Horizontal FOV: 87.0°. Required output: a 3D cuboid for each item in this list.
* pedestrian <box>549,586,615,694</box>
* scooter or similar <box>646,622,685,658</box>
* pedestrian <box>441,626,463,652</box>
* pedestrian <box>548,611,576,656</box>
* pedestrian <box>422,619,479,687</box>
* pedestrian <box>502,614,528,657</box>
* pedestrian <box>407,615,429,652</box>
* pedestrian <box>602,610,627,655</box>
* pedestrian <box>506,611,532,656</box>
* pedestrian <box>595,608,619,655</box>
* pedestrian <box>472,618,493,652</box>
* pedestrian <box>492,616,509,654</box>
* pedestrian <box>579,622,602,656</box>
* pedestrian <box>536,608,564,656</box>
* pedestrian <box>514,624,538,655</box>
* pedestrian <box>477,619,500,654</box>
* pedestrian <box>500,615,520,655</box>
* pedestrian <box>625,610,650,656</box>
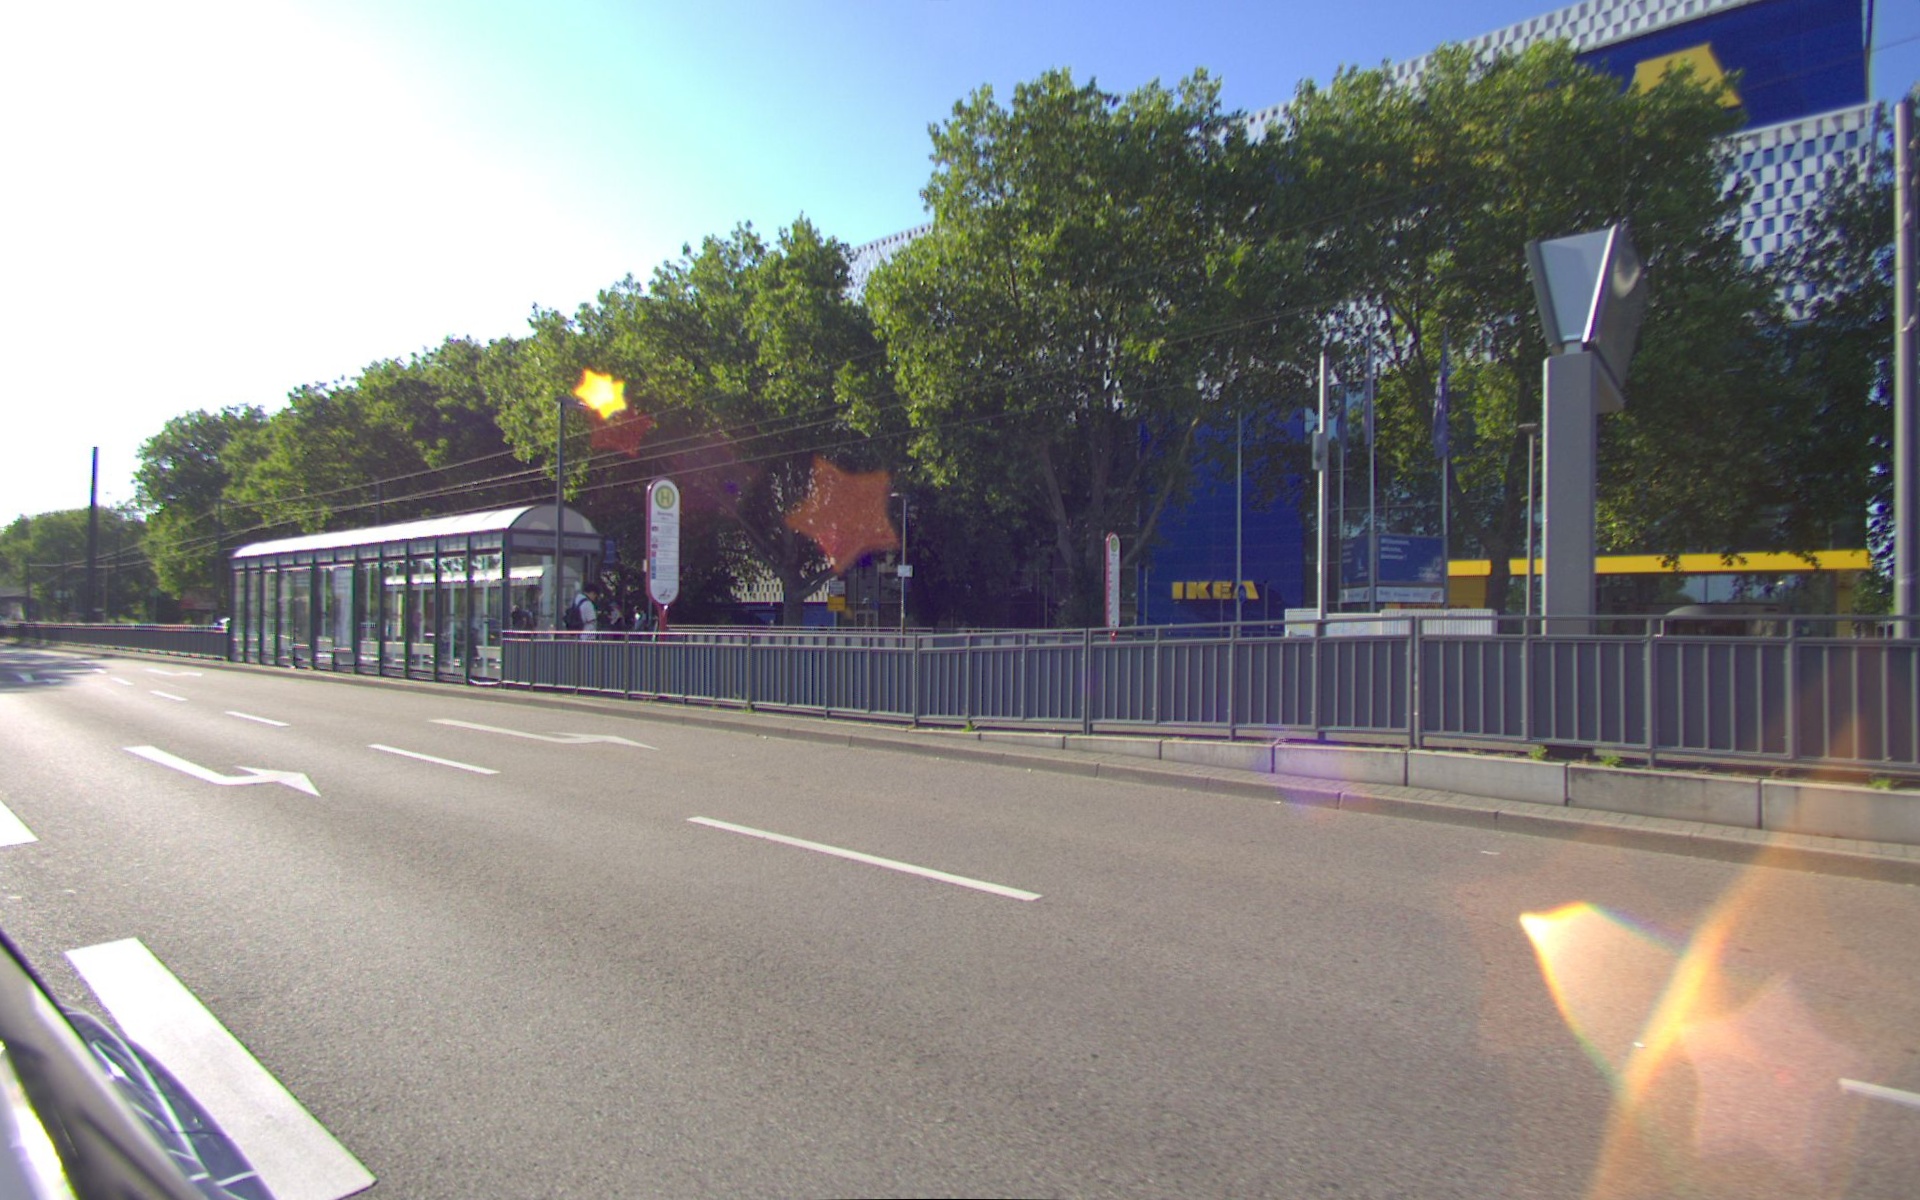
[{"bbox_3d":[-6.269,0.647,16.799,0.820,1.729,0.687,-1,-1,36],"label":"pedestrian"},{"bbox_3d":[-10.250,1.387,35.216,1.371,1.244,0.657,-2,-2,41],"label":"scooter or similar"},{"bbox_3d":[-23.436,1.805,46.691,0.623,1.171,0.671,-2,-2,39],"label":"pedestrian"},{"bbox_3d":[-15.490,1.296,39.384,0.684,1.704,0.726,-2,0,31],"label":"pedestrian"},{"bbox_3d":[-9.655,0.989,19.178,0.878,1.241,0.673,-2,0,41],"label":"pedestrian"},{"bbox_3d":[-17.316,1.380,39.386,0.776,1.645,0.653,-2,-1,42],"label":"pedestrian"},{"bbox_3d":[-25.549,1.555,47.711,0.678,1.723,0.753,-2,-2,42],"label":"pedestrian"},{"bbox_3d":[-12.833,1.211,37.602,0.635,1.632,0.644,-2,-1,45],"label":"pedestrian"},{"bbox_3d":[-17.547,1.317,40.261,0.684,1.755,0.646,-2,0,38],"label":"pedestrian"},{"bbox_3d":[-13.247,1.168,37.980,0.635,1.732,0.644,-2,-1,45],"label":"pedestrian"},{"bbox_3d":[-20.921,1.535,44.343,0.543,1.479,0.609,-1,-2,33],"label":"pedestrian"},{"bbox_3d":[-19.670,1.489,43.327,0.568,1.589,0.489,1,-2,-41],"label":"pedestrian"},{"bbox_3d":[-13.990,1.472,38.300,0.617,1.234,0.595,-2,-1,45],"label":"pedestrian"},{"bbox_3d":[-16.124,1.260,39.766,0.685,1.834,0.725,-2,0,34],"label":"pedestrian"},{"bbox_3d":[-17.817,1.624,41.546,0.684,1.262,0.646,-2,0,38],"label":"pedestrian"},{"bbox_3d":[-20.461,1.559,43.934,0.574,1.503,0.664,-1,-2,28],"label":"pedestrian"},{"bbox_3d":[-18.594,1.448,41.810,0.568,1.648,0.645,1,-2,-40],"label":"pedestrian"},{"bbox_3d":[-11.688,1.187,36.721,0.691,1.632,0.595,-2,-1,45],"label":"pedestrian"}]
